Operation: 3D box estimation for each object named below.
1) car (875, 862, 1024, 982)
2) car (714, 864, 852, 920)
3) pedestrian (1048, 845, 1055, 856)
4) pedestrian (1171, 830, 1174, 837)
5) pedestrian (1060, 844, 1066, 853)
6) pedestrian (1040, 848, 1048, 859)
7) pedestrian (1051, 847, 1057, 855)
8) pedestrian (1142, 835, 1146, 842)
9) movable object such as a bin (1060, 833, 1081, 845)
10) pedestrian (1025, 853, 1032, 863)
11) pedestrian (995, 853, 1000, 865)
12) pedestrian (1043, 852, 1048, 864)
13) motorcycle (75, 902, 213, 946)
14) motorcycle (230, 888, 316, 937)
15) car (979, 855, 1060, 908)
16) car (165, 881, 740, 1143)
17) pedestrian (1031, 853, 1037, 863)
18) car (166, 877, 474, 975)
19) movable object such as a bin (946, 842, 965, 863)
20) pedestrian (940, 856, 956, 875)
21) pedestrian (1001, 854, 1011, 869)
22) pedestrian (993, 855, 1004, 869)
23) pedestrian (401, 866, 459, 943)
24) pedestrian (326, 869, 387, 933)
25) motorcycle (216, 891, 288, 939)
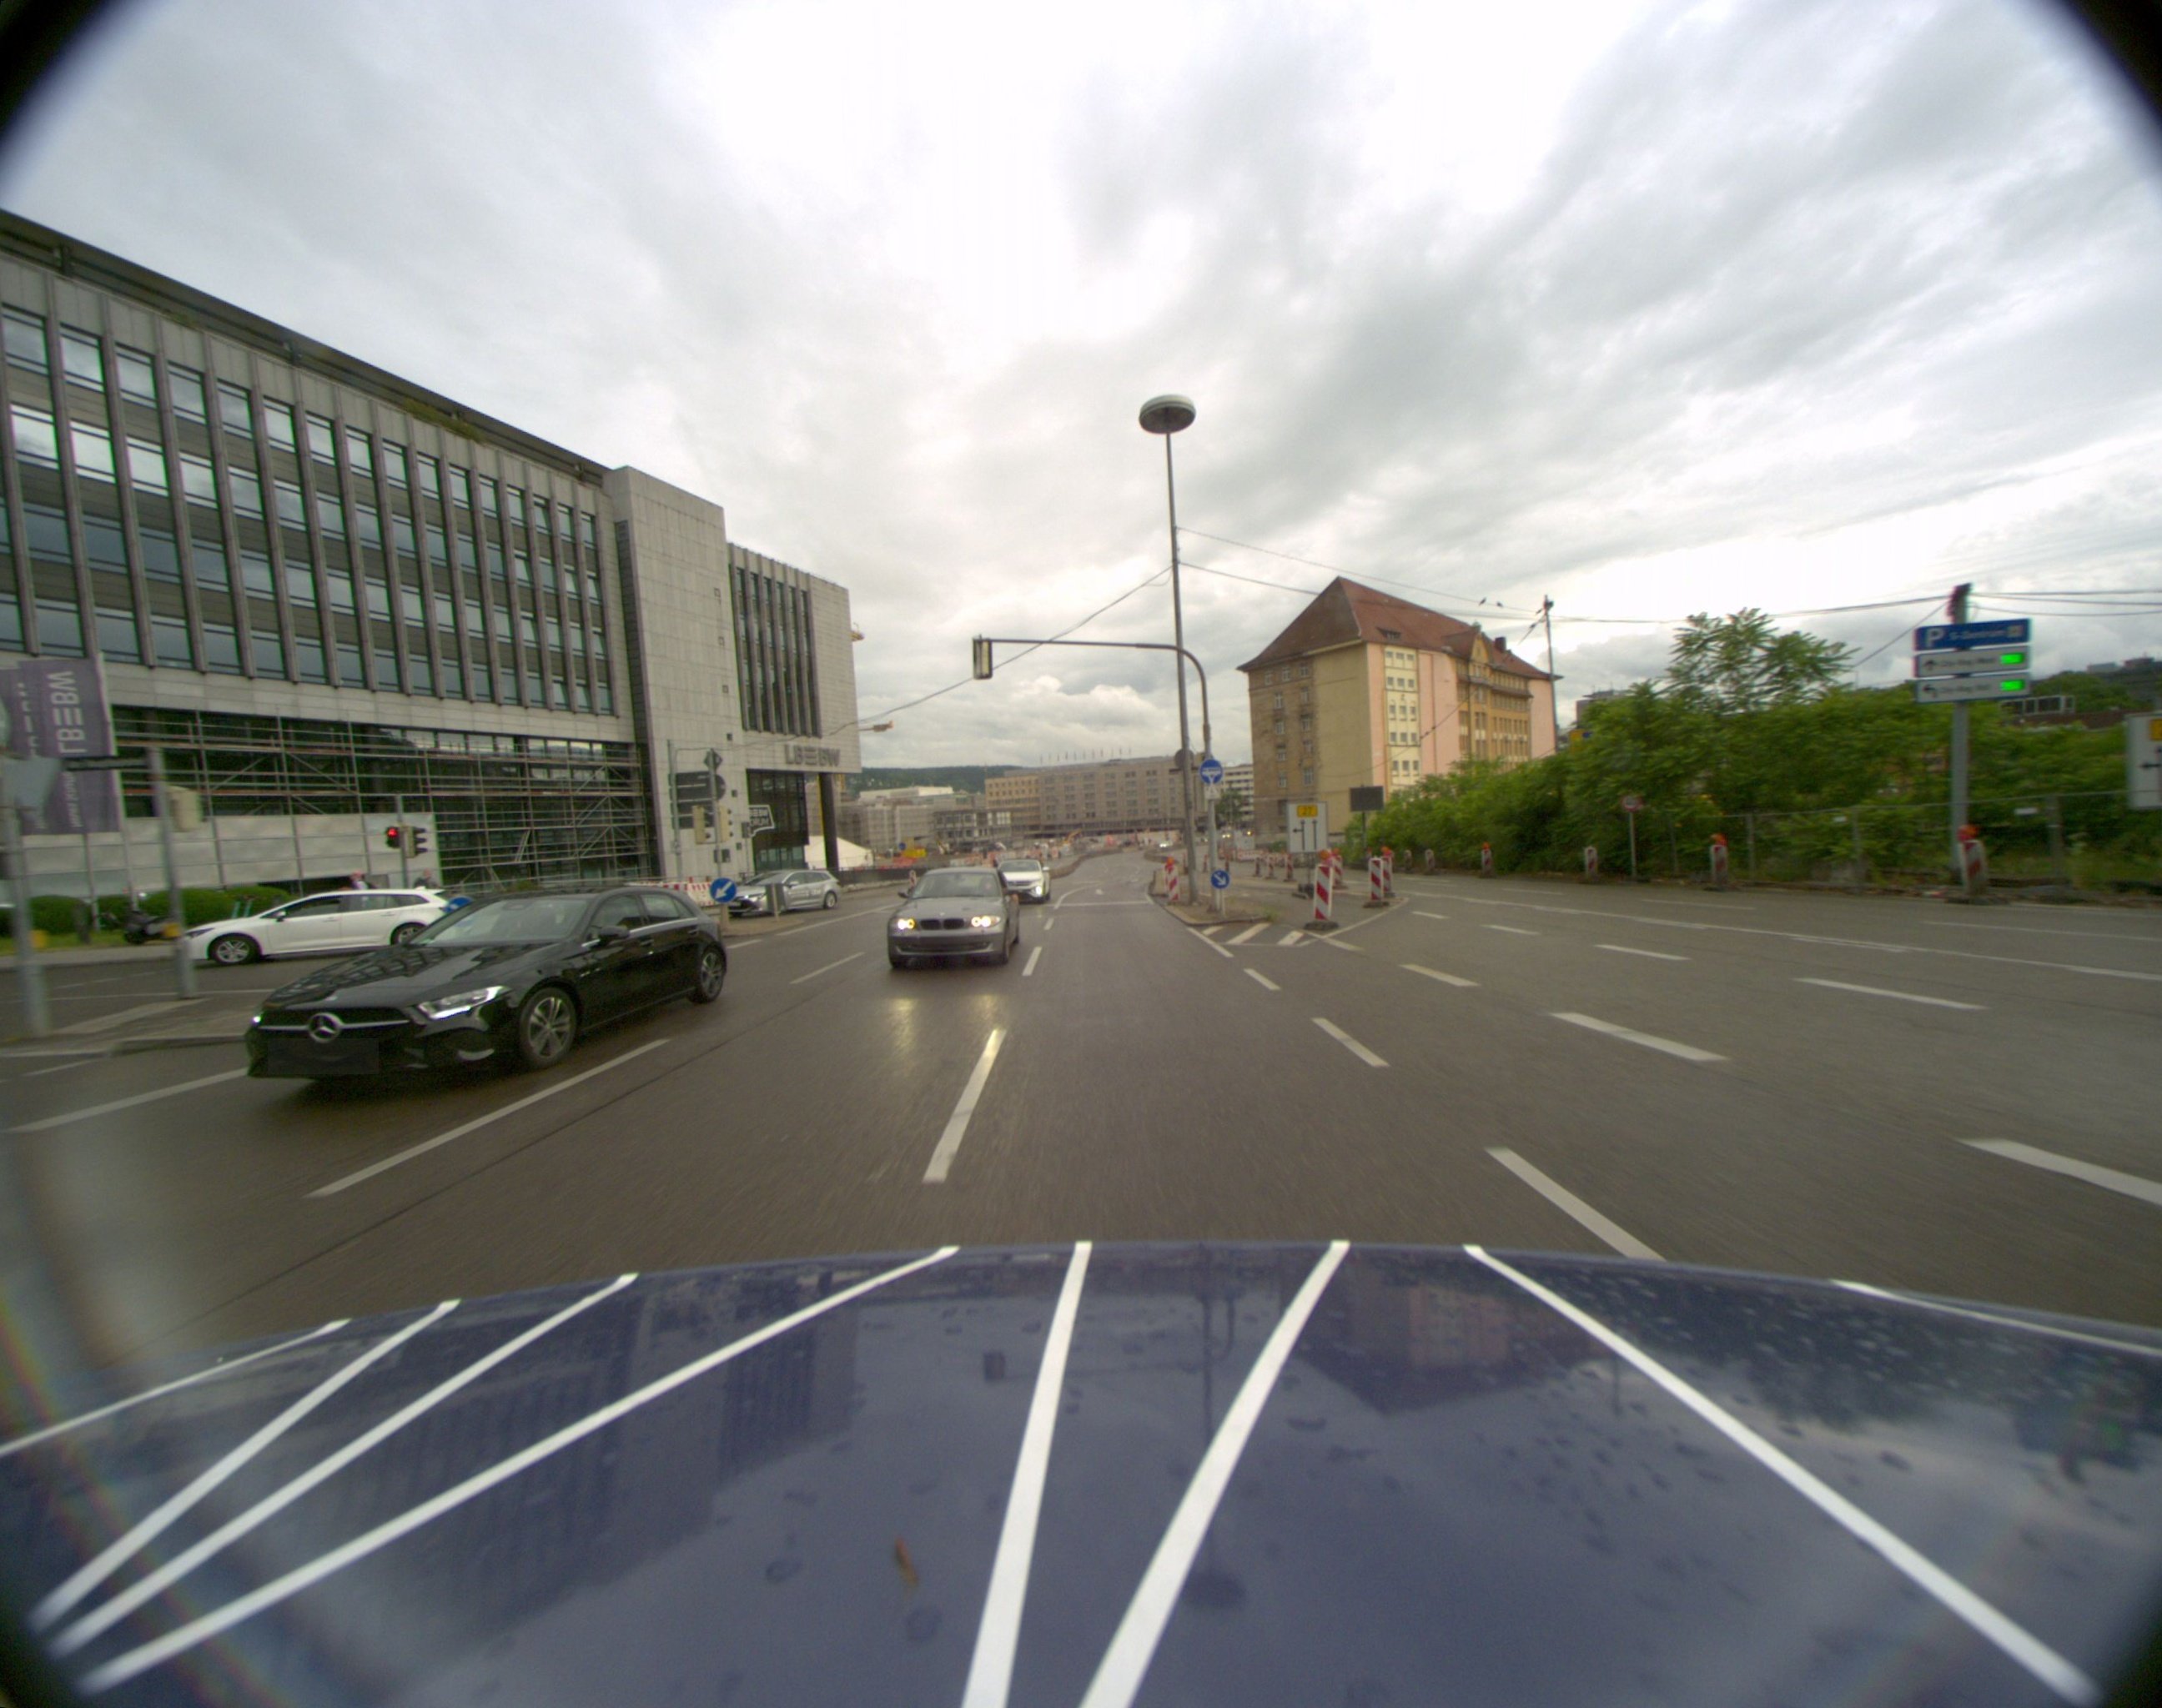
[{"bbox_3d":[-1.924,0.939,12.260,1.744,1.435,3.999,-3,1,-2],"label":"car"},{"bbox_3d":[-9.838,1.206,25.535,1.703,1.443,4.620,-3,1,18],"label":"car"},{"bbox_3d":[-5.283,-0.604,135.827,0.818,1.839,0.933,-1,4,37],"label":"pedestrian"},{"bbox_3d":[23.552,-5.277,196.105,0.648,1.660,0.766,-1,4,13],"label":"pedestrian"},{"bbox_3d":[-3.301,-1.037,138.650,0.745,1.697,0.687,-1,4,15],"label":"pedestrian"},{"bbox_3d":[-6.433,-0.105,131.565,0.867,1.808,1.009,-2,4,21],"label":"pedestrian"},{"bbox_3d":[-4.876,-0.531,137.626,0.647,1.545,0.767,-1,4,37],"label":"pedestrian"},{"bbox_3d":[14.446,-3.617,175.425,0.654,1.682,0.776,0,4,25],"label":"pedestrian"},{"bbox_3d":[-2.316,-3.268,165.745,4.134,2.522,1.995,-5,4,-34],"label":"movable object such as a bin"},{"bbox_3d":[-8.404,0.613,121.667,0.715,1.545,1.009,-2,4,21],"label":"pedestrian"},{"bbox_3d":[-13.121,0.772,119.864,0.567,1.739,0.495,-2,4,19],"label":"pedestrian"},{"bbox_3d":[-5.426,0.601,115.990,0.648,1.624,0.907,-3,3,2],"label":"pedestrian"},{"bbox_3d":[-24.614,1.829,19.994,2.571,1.075,0.634,0,1,-6],"label":"motorcycle"},{"bbox_3d":[-24.039,1.733,22.634,1.729,1.346,0.606,-2,1,-6],"label":"motorcycle"},{"bbox_3d":[-2.011,0.883,26.216,1.968,1.540,4.220,-3,1,6],"label":"car"},{"bbox_3d":[-5.011,1.100,7.037,1.759,1.399,4.226,-1,2,0],"label":"car"},{"bbox_3d":[-7.563,0.570,121.882,0.609,1.514,0.886,-2,4,21],"label":"pedestrian"},{"bbox_3d":[-16.579,1.469,16.979,4.588,1.625,1.772,-3,1,-37],"label":"car"},{"bbox_3d":[-21.598,-0.301,130.796,1.941,3.391,4.231,-3,3,8],"label":"movable object such as a bin"},{"bbox_3d":[-11.609,0.996,66.364,0.730,1.643,1.062,-2,3,29],"label":"pedestrian"},{"bbox_3d":[-8.576,0.865,86.793,0.732,1.566,0.806,-2,3,29],"label":"pedestrian"},{"bbox_3d":[-9.433,0.907,86.930,0.861,1.585,0.953,-1,4,29],"label":"pedestrian"},{"bbox_3d":[-18.834,1.434,22.013,0.856,2.087,0.903,-5,2,-22],"label":"pedestrian"},{"bbox_3d":[-20.428,1.306,21.439,0.731,1.702,0.843,-3,3,0],"label":"pedestrian"},{"bbox_3d":[-23.892,1.746,21.910,1.244,1.263,0.619,-2,1,-6],"label":"motorcycle"}]
